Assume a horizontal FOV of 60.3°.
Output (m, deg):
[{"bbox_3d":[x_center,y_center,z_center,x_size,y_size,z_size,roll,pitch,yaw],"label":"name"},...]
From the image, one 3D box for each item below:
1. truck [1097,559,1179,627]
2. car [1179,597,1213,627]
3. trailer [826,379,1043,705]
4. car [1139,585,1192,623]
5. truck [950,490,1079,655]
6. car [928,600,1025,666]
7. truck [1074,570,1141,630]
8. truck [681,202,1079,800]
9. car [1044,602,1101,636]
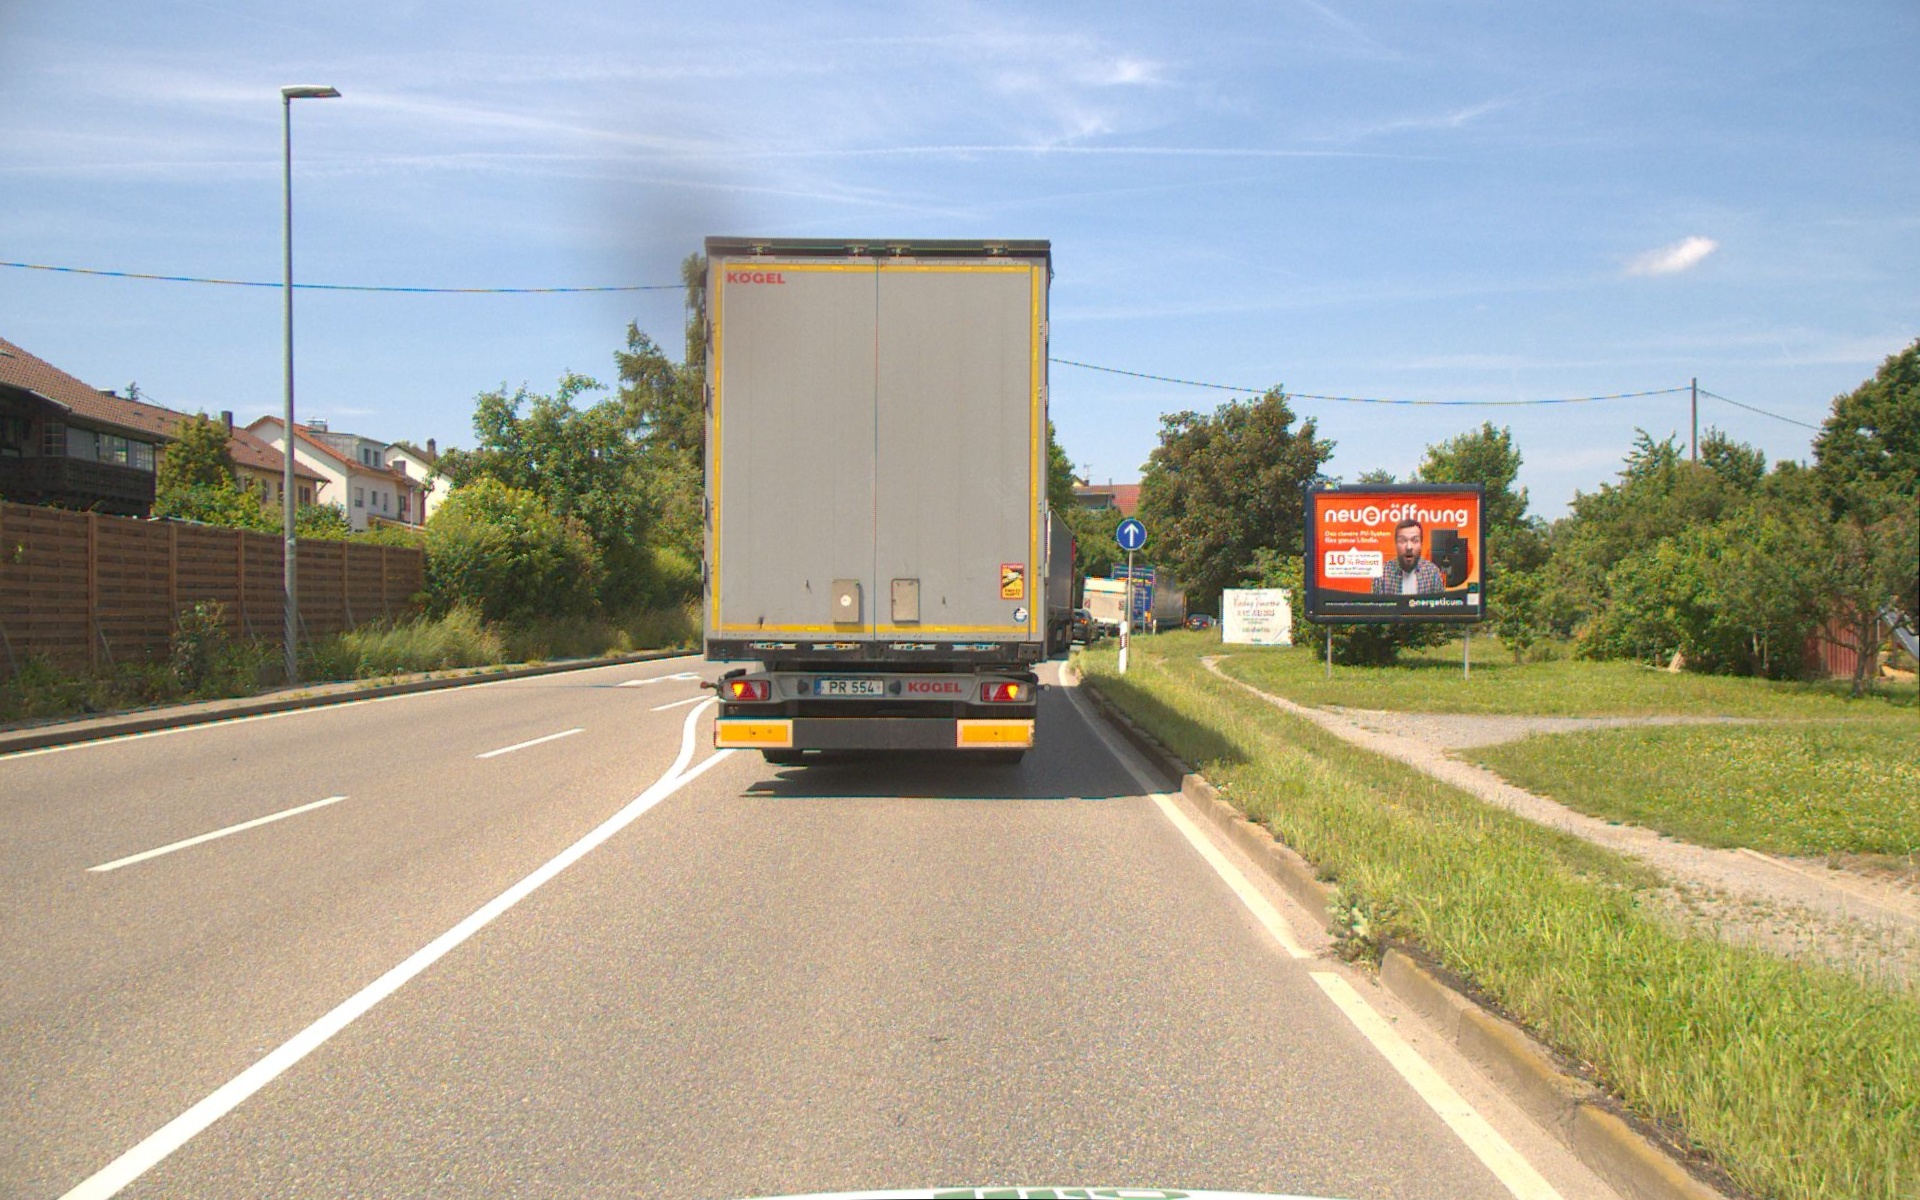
[{"bbox_3d":[10.267,-0.426,94.452,3.360,3.667,9.361,1,1,14],"label":"truck"},{"bbox_3d":[16.648,0.888,116.521,1.951,2.049,4.003,1,-1,14],"label":"car"},{"bbox_3d":[-0.275,-0.771,24.641,2.767,4.183,6.545,0,0,1],"label":"trailer"},{"bbox_3d":[13.102,0.247,105.000,2.478,2.317,6.386,1,0,14],"label":"car"},{"bbox_3d":[2.023,-0.640,52.109,2.702,4.364,16.426,1,-1,6],"label":"truck"},{"bbox_3d":[0.427,0.719,37.051,1.780,1.370,3.850,1,-1,6],"label":"car"},{"bbox_3d":[7.447,0.033,82.992,2.489,2.852,6.036,1,-1,13],"label":"truck"},{"bbox_3d":[-0.438,-0.746,17.458,2.764,4.200,11.445,1,0,1],"label":"truck"},{"bbox_3d":[4.929,0.826,72.002,1.951,1.400,4.003,1,-1,11],"label":"car"}]
